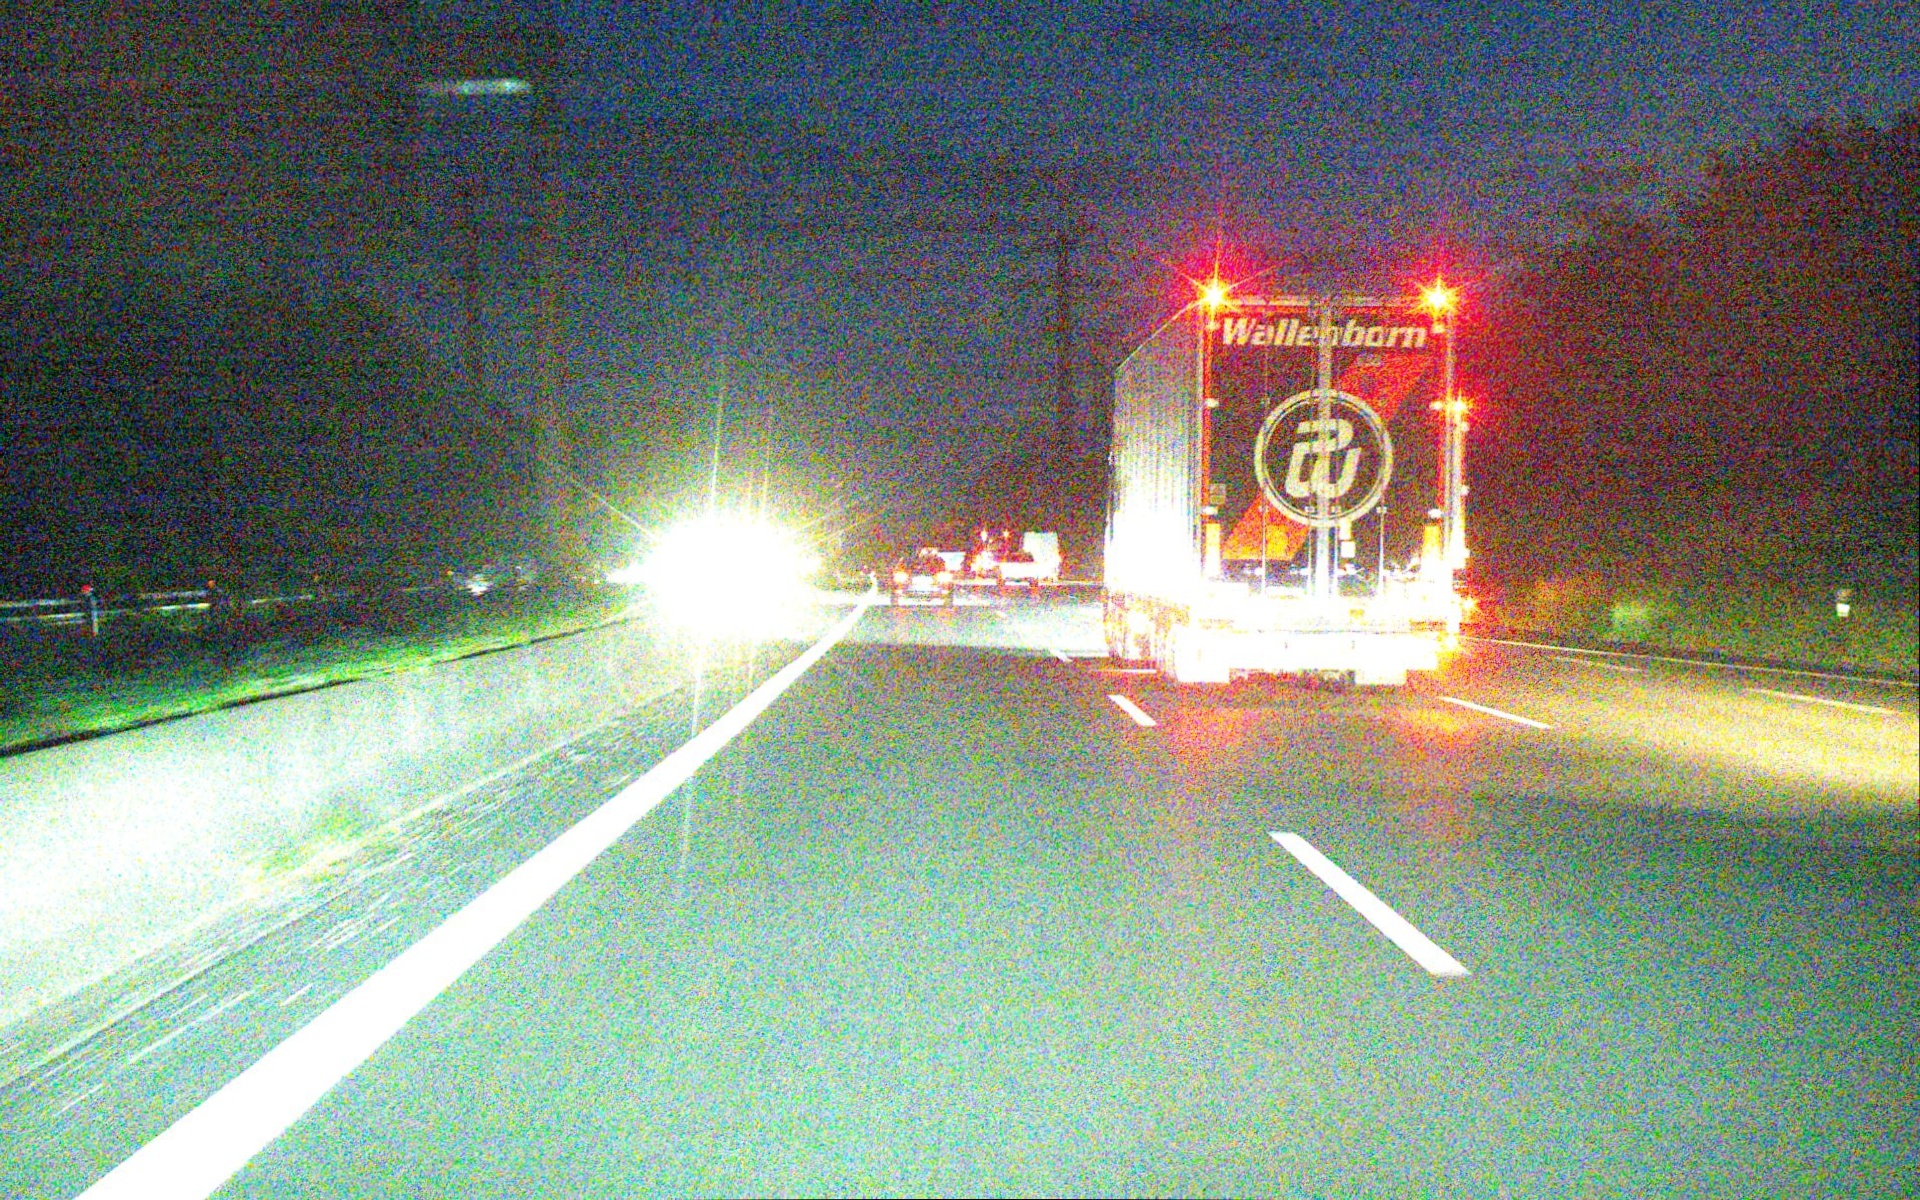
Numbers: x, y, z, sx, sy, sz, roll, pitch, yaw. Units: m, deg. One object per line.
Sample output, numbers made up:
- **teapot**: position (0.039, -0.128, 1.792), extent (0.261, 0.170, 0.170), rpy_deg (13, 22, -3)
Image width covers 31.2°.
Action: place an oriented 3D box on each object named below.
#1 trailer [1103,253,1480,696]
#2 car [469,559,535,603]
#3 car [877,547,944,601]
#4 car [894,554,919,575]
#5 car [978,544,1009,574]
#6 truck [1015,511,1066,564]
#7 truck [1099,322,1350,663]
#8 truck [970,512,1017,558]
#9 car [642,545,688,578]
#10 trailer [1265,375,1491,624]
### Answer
- **trailer**: position (3.448, -1.295, 39.620), extent (2.742, 4.192, 13.511), rpy_deg (1, 1, -1)
- **car**: position (-16.521, -0.715, 124.180), extent (1.750, 1.473, 4.943), rpy_deg (-2, 1, -1)
- **car**: position (-1.428, -0.748, 97.273), extent (1.821, 1.461, 4.248), rpy_deg (1, 1, -2)
- **car**: position (-3.937, -2.622, 252.588), extent (1.821, 1.461, 4.248), rpy_deg (1, 1, -2)
- **car**: position (1.589, -1.941, 163.370), extent (1.346, 1.382, 3.502), rpy_deg (1, 1, -2)
- **truck**: position (4.284, -3.347, 184.320), extent (2.076, 2.682, 7.309), rpy_deg (1, 0, -4)
- **truck**: position (3.424, -1.386, 46.131), extent (2.661, 4.192, 6.723), rpy_deg (1, 1, -1)
- **truck**: position (2.467, -4.862, 258.396), extent (3.044, 3.313, 10.143), rpy_deg (1, 1, -2)
- **car**: position (-13.907, -1.825, 162.114), extent (1.750, 1.473, 4.763), rpy_deg (-2, 1, -1)
- **trailer**: position (7.335, -1.728, 61.670), extent (2.591, 4.058, 10.009), rpy_deg (1, 1, -1)
